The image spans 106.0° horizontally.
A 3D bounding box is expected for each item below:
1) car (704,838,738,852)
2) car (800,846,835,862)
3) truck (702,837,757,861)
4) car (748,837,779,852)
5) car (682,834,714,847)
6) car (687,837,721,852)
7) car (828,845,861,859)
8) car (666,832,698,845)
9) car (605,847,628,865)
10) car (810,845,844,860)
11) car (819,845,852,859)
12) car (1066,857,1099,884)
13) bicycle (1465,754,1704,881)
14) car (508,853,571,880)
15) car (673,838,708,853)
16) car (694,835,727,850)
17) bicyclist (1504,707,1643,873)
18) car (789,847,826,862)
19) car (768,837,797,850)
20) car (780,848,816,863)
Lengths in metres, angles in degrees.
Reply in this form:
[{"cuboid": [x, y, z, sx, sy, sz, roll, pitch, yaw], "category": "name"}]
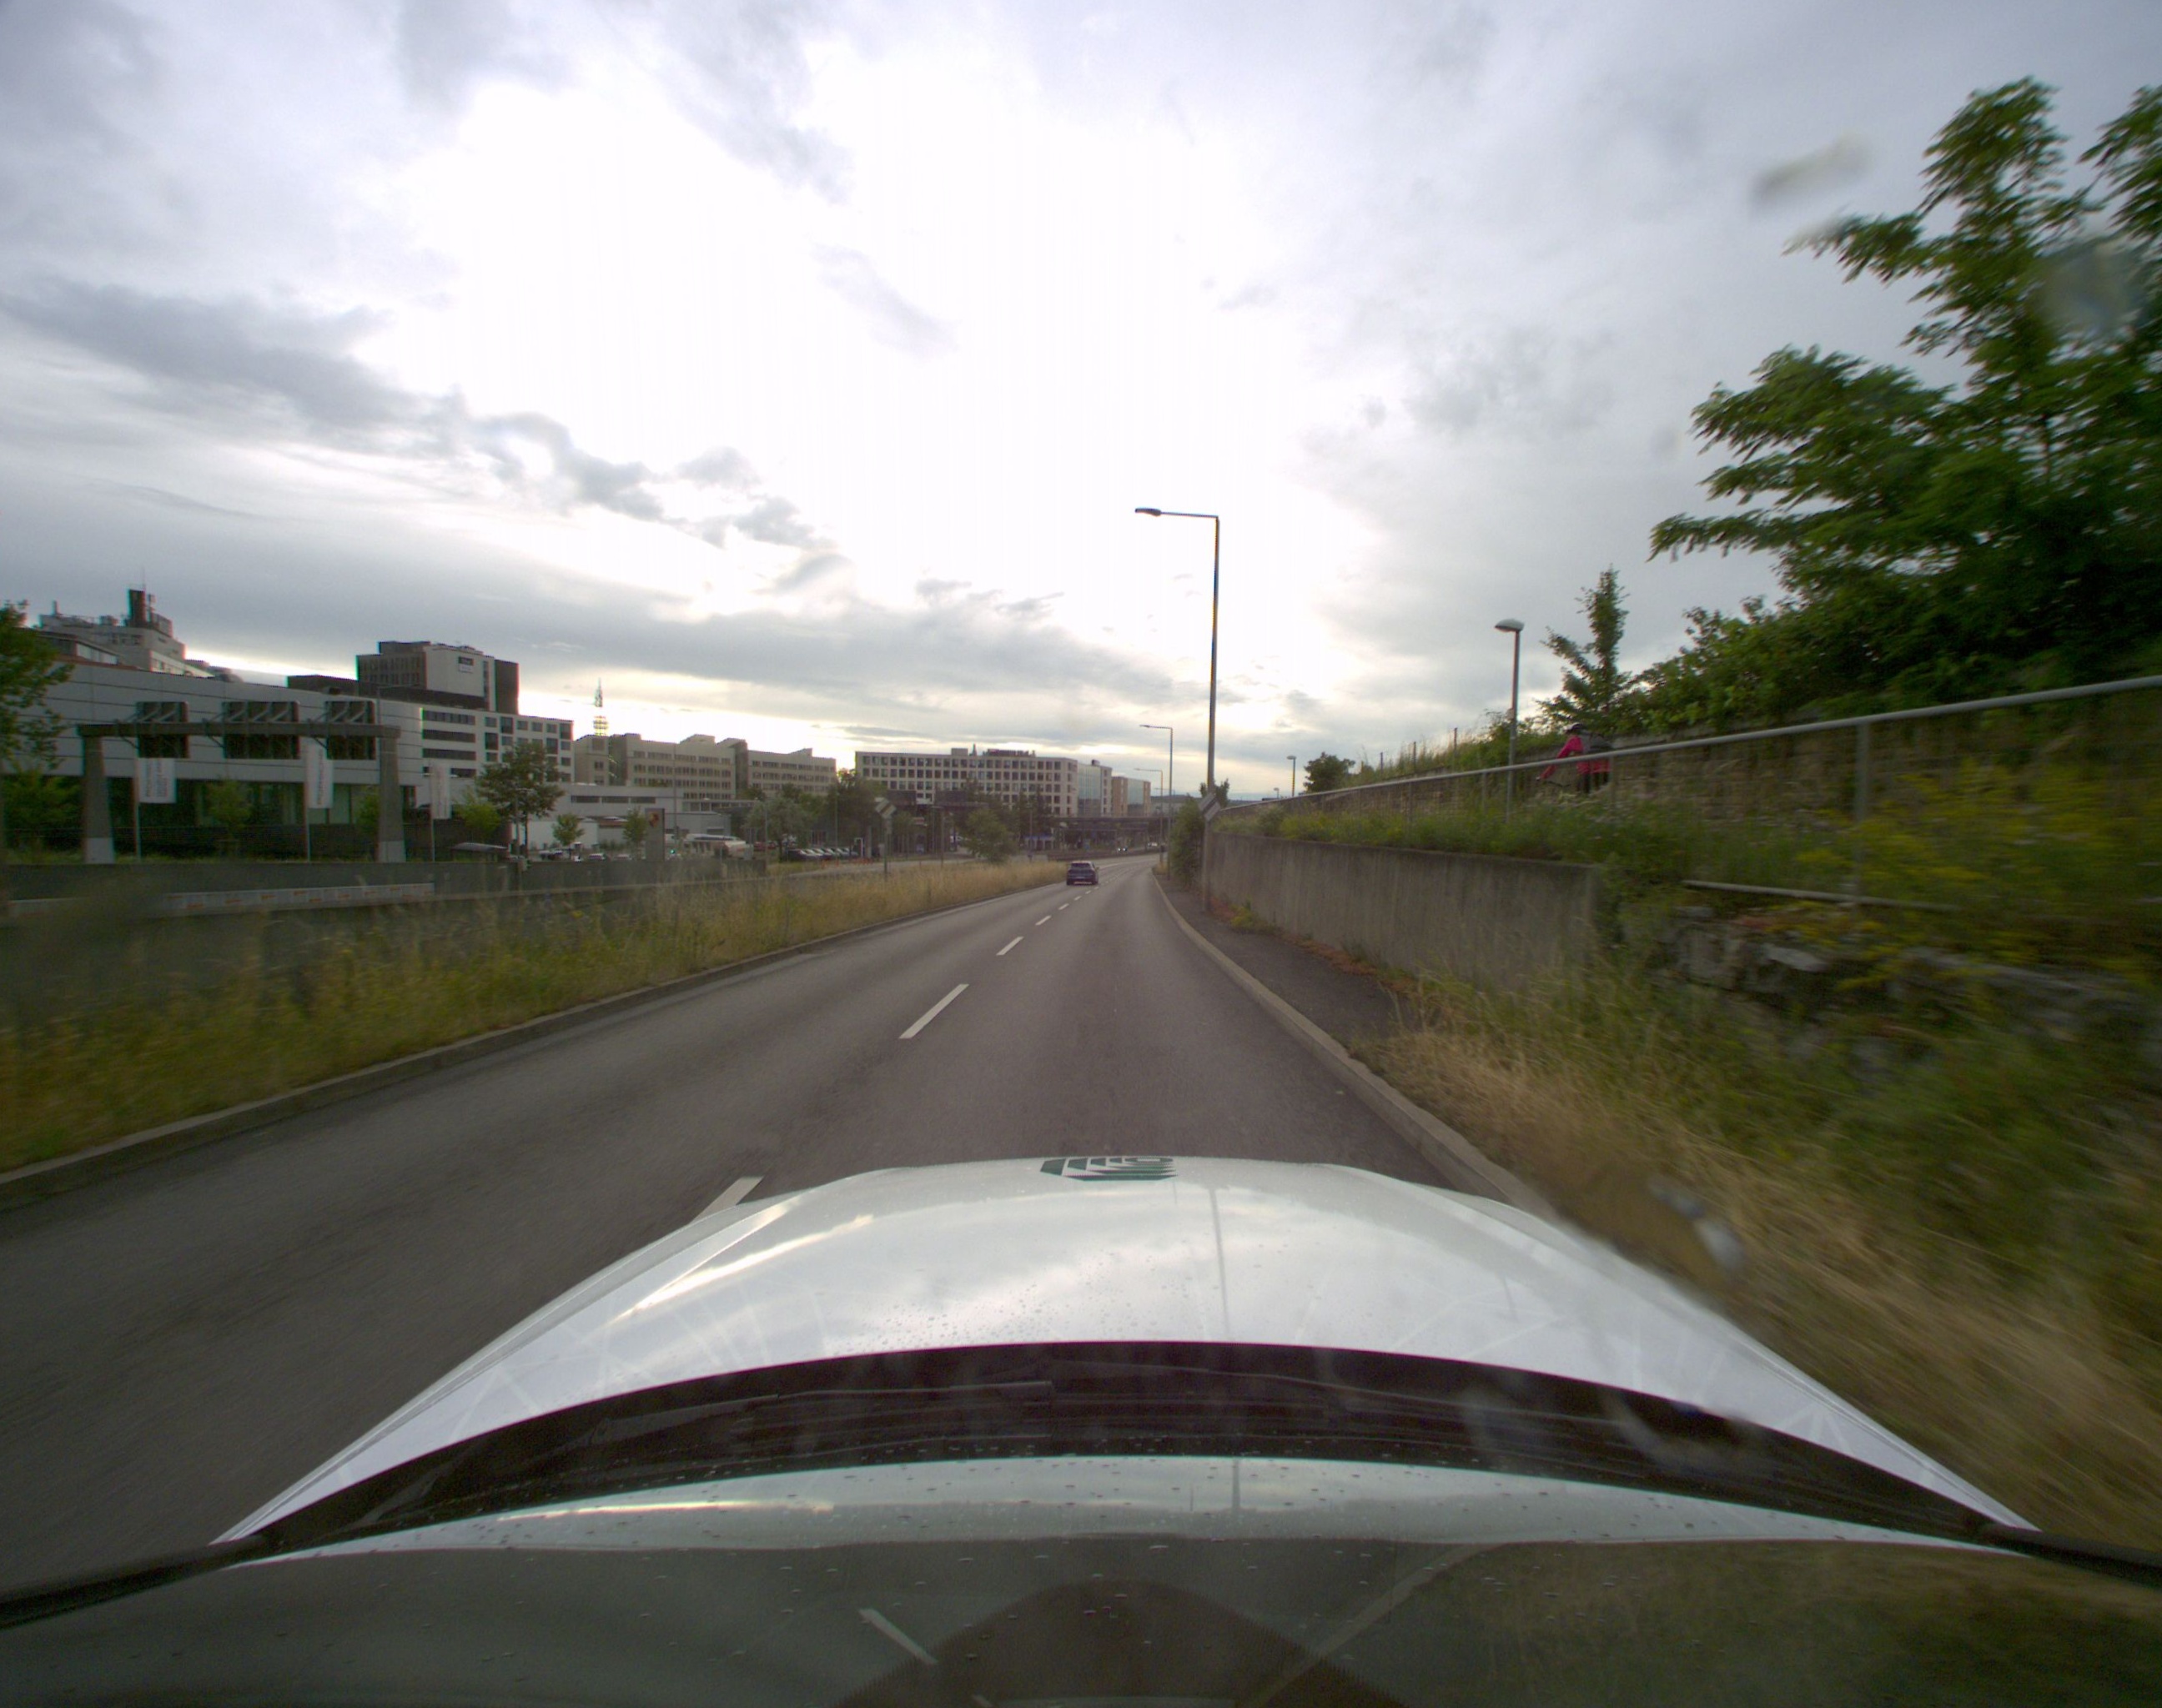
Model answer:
[{"cuboid": [-47.524, -1.204, 107.467, 1.902, 1.683, 4.019, 4, 4, 17], "category": "car"}, {"cuboid": [-34.865, 0.007, 107.736, 3.960, 1.683, 1.931, 4, 4, 12], "category": "car"}, {"cuboid": [-44.914, -0.676, 104.383, 2.349, 2.527, 7.442, 4, 4, 14], "category": "truck"}, {"cuboid": [-44.477, -1.322, 114.008, 1.887, 1.881, 4.020, 4, 4, 18], "category": "car"}, {"cuboid": [-54.680, -1.967, 116.425, 1.902, 1.683, 4.019, 4, 4, 17], "category": "car"}, {"cuboid": [-50.185, -1.289, 108.522, 1.902, 1.683, 4.019, 4, 4, 17], "category": "car"}, {"cuboid": [-33.350, -0.279, 114.788, 3.960, 1.683, 1.931, 4, 4, 12], "category": "car"}, {"cuboid": [-57.516, -2.251, 117.510, 1.902, 1.683, 4.019, 4, 4, 17], "category": "car"}, {"cuboid": [-58.324, 0.209, 102.249, 2.009, 1.881, 3.958, 0, 5, -37], "category": "car"}, {"cuboid": [-34.350, -0.168, 110.107, 3.960, 1.683, 1.931, 4, 4, 12], "category": "car"}, {"cuboid": [-33.904, -0.293, 112.495, 3.960, 1.683, 1.931, 4, 4, 12], "category": "car"}, {"cuboid": [0.101, 1.002, 49.971, 1.741, 1.420, 3.483, -2, 2, 4], "category": "car"}, {"cuboid": [6.121, -0.480, 10.322, 0.866, 1.287, 3.489, 3, 3, 1], "category": "bicycle"}, {"cuboid": [-58.548, 1.333, 88.183, 5.118, 2.488, 2.535, 3, 4, 1], "category": "car"}, {"cuboid": [-52.268, -1.149, 109.102, 1.902, 1.683, 4.019, 4, 4, 17], "category": "car"}, {"cuboid": [-52.382, -1.698, 115.139, 1.978, 1.881, 4.020, 4, 4, 18], "category": "car"}, {"cuboid": [6.140, -0.782, 10.254, 0.866, 1.908, 1.295, 3, 3, 1], "category": "bicyclist"}, {"cuboid": [-35.397, 0.036, 105.429, 3.960, 1.683, 1.931, 4, 4, 12], "category": "car"}, {"cuboid": [-45.250, -1.607, 123.659, 3.997, 1.781, 1.913, 1, 4, -18], "category": "car"}, {"cuboid": [-35.864, 0.200, 103.359, 3.974, 1.599, 1.706, 4, 4, 12], "category": "car"}]
